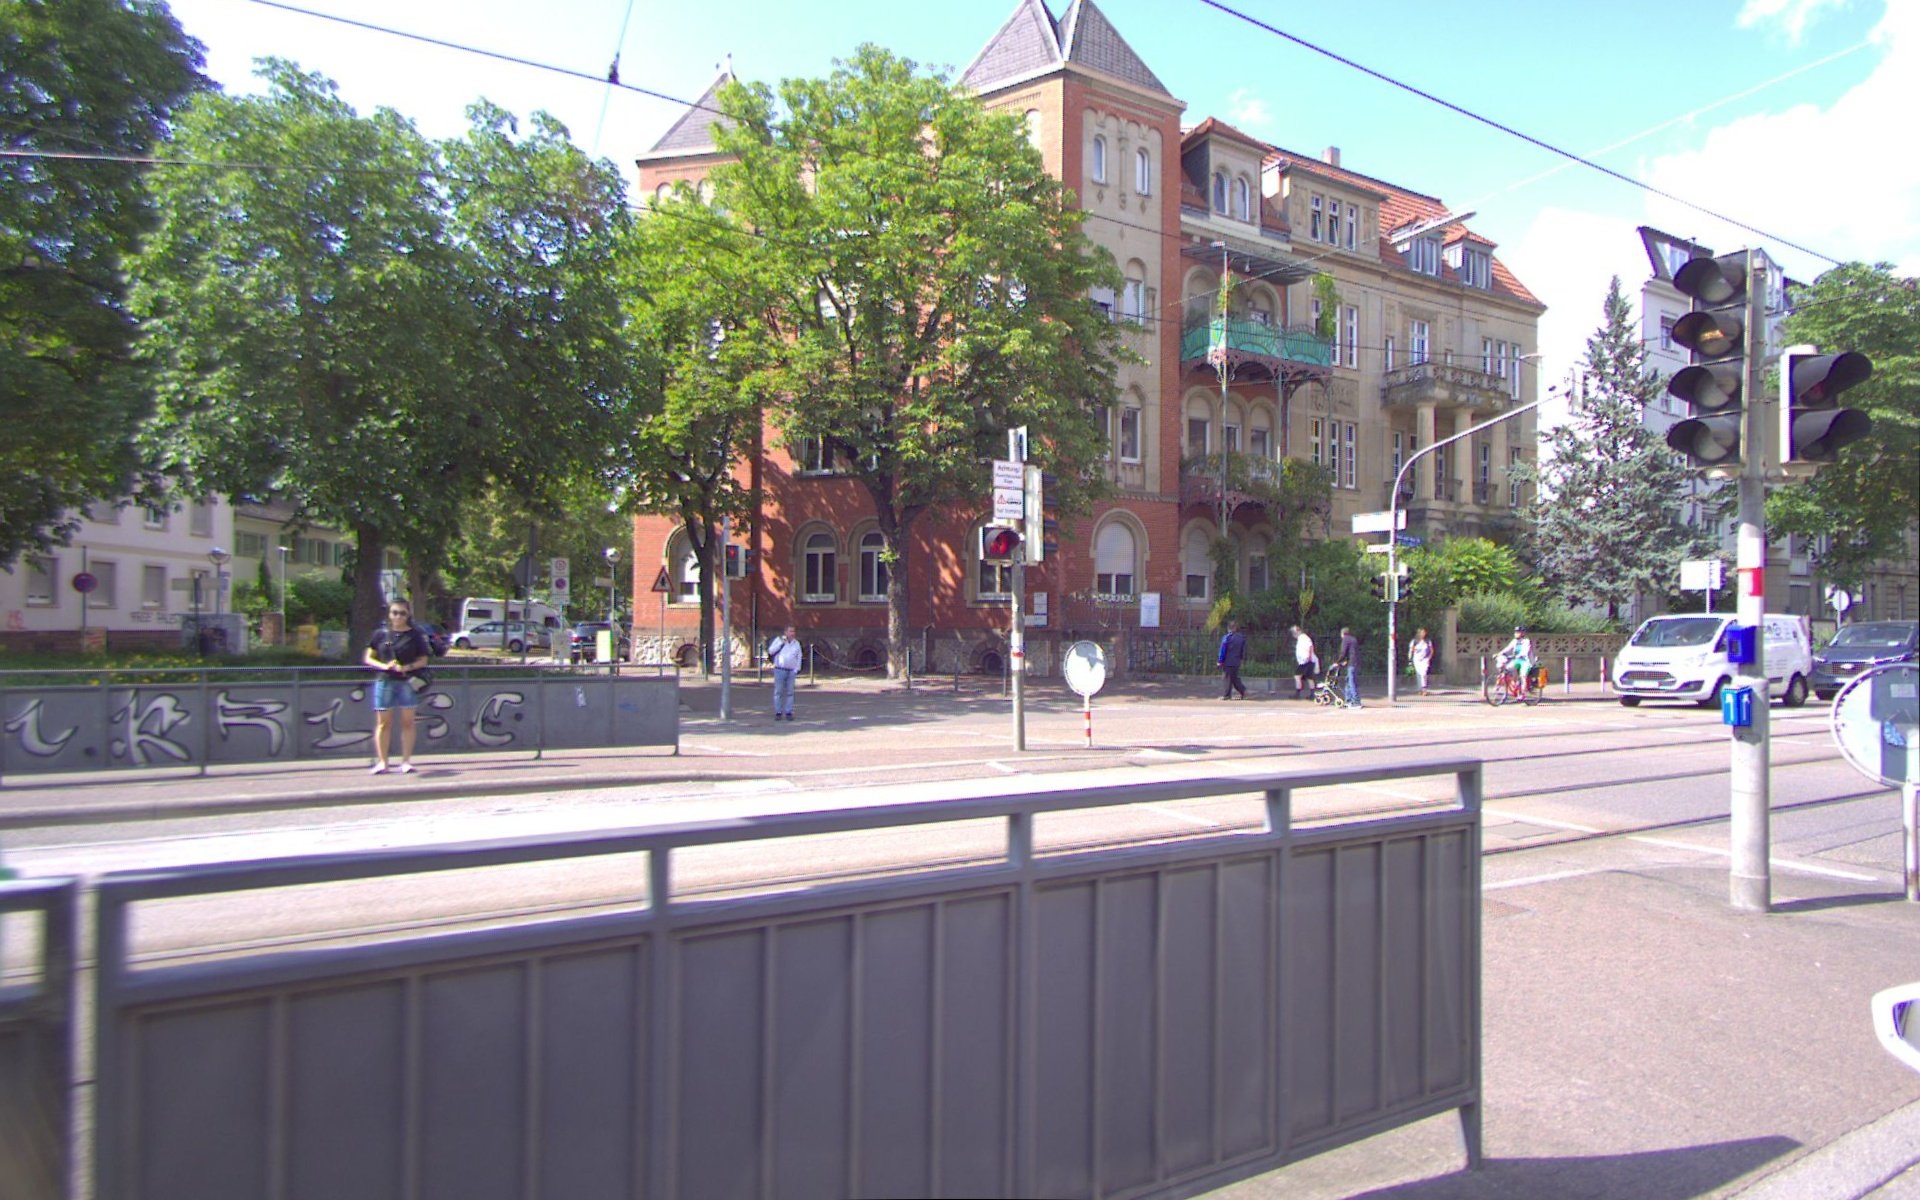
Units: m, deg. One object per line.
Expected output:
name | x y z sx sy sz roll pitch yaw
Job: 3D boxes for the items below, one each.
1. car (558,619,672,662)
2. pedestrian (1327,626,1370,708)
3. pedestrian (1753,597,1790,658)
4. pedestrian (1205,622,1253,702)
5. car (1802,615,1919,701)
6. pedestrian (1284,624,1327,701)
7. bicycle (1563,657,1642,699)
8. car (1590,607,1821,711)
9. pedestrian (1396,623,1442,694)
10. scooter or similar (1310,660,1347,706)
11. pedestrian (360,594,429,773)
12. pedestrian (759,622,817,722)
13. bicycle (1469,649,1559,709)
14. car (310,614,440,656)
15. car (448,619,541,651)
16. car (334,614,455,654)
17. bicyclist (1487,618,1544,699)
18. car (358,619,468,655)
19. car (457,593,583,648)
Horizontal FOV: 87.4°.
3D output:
car | -13.625 1.604 39.711 3.951 1.572 1.985 2 0 -29
pedestrian | 8.199 1.399 21.180 0.747 1.679 0.515 2 0 -42
pedestrian | 27.871 0.942 34.490 0.789 2.040 0.485 2 0 4
pedestrian | 5.951 1.354 22.220 0.842 1.721 0.617 2 0 -41
car | 23.200 1.438 24.825 5.060 1.942 1.920 2 -3 -28
pedestrian | 7.764 1.388 22.583 0.720 1.679 0.605 0 1 -42
bicycle | 16.922 2.027 26.463 1.838 0.945 0.993 1 2 -30
car | 16.046 1.246 21.571 5.025 2.021 1.986 1 -3 -28
pedestrian | 11.133 1.420 24.377 0.802 1.679 0.521 2 0 -8
scooter or similar | 7.890 1.766 21.519 0.496 0.934 0.543 2 0 -42
pedestrian | -5.132 0.734 9.128 0.510 1.562 0.534 -1 -1 -29
pedestrian | -3.055 1.260 17.862 0.842 1.721 0.461 2 0 -41
bicycle | 12.196 1.716 22.105 1.932 1.175 0.841 1 2 -31
car | -24.454 1.466 42.163 4.241 1.697 1.996 1 -1 -12
car | -25.686 1.951 55.554 4.236 1.697 1.998 1 -1 -6
car | -25.035 1.525 44.647 4.241 1.697 1.996 1 -1 -12
bicyclist | 12.218 1.281 22.087 0.665 1.718 0.834 2 0 -30
car | -26.687 1.813 49.163 4.236 1.697 1.998 1 -1 -6
car | -27.298 1.304 62.521 6.737 3.291 2.171 1 -1 -7
